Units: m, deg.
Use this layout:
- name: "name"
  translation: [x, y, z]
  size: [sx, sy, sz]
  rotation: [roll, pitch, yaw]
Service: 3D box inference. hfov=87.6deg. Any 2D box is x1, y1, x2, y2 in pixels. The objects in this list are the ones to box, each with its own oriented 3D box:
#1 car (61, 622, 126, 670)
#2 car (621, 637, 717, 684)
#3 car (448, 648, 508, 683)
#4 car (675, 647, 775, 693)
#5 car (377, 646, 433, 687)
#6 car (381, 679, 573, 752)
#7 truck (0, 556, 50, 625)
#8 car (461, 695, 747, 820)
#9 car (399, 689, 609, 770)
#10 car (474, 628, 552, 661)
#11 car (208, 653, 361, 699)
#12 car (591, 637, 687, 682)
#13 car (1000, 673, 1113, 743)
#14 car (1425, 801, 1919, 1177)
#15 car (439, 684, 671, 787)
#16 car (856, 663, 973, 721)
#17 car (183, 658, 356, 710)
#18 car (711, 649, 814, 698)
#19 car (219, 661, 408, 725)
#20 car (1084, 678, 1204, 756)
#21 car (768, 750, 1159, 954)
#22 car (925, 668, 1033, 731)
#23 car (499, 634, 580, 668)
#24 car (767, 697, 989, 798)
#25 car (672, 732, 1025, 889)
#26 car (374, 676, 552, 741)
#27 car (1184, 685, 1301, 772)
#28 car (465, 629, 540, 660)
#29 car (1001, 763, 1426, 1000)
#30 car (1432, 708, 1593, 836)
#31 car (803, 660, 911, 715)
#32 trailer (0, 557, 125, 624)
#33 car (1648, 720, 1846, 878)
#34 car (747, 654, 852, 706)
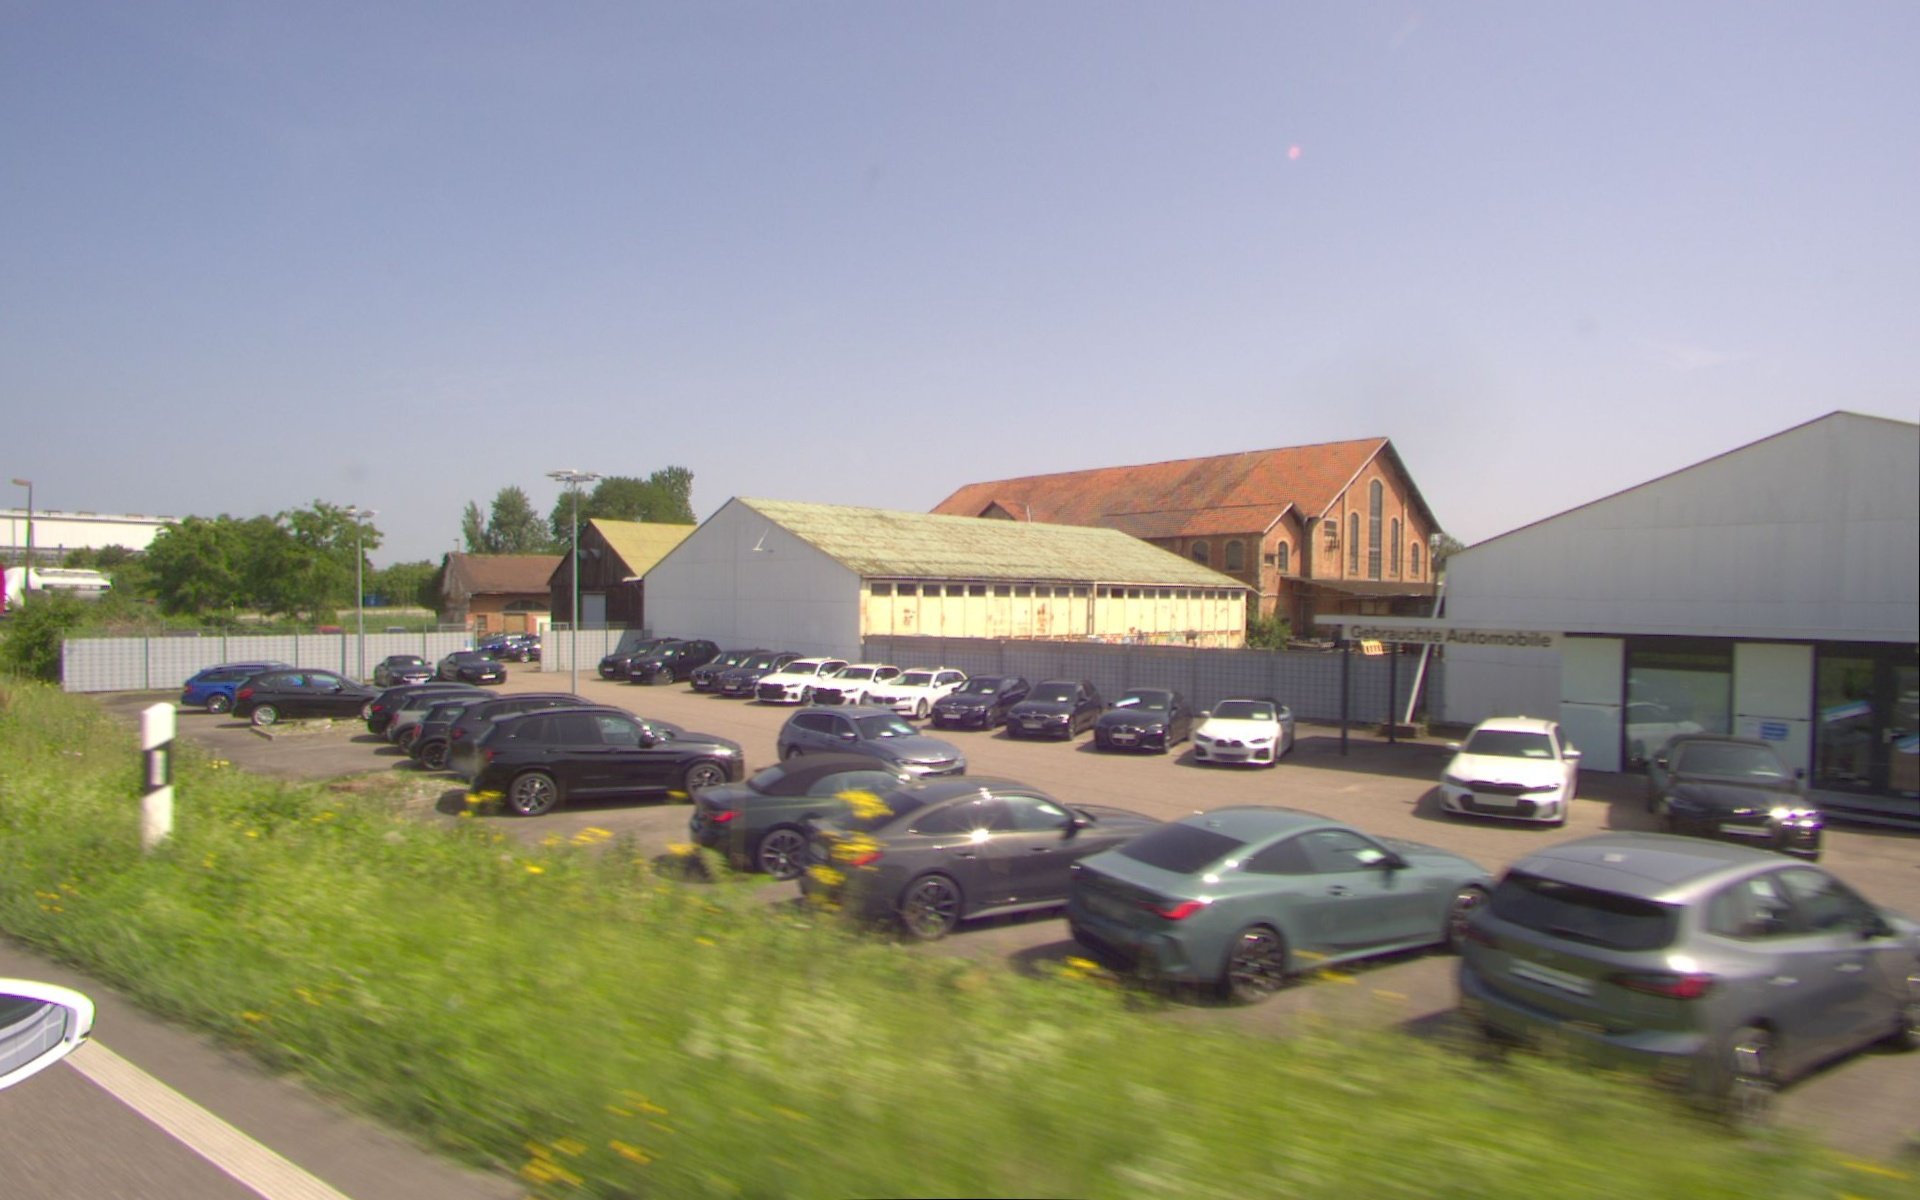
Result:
- name: "car"
  translation: [-38.657, 2.010, 44.664]
  size: [1.981, 2.039, 3.961]
  rotation: [2, -2, -44]
- name: "car"
  translation: [-12.832, 2.623, 44.441]
  size: [1.878, 1.828, 4.329]
  rotation: [1, 0, 21]
- name: "car"
  translation: [-21.477, 2.862, 44.569]
  size: [1.973, 1.416, 3.977]
  rotation: [1, -2, -32]
- name: "car"
  translation: [-9.520, 2.818, 40.890]
  size: [1.878, 1.596, 4.329]
  rotation: [1, 0, 21]
- name: "car"
  translation: [-23.734, 2.792, 42.725]
  size: [1.831, 1.554, 4.617]
  rotation: [1, -2, -32]
- name: "car"
  translation: [-11.690, 2.779, 24.551]
  size: [4.081, 1.512, 1.826]
  rotation: [1, -1, -21]
- name: "truck"
  translation: [-58.954, -0.524, 60.976]
  size: [2.842, 4.082, 6.707]
  rotation: [1, -2, -20]
- name: "car"
  translation: [-6.271, 2.694, 17.821]
  size: [4.570, 1.723, 1.849]
  rotation: [1, 1, -25]
- name: "car"
  translation: [-10.018, 2.828, 22.322]
  size: [4.081, 1.461, 1.770]
  rotation: [1, 1, -21]
- name: "car"
  translation: [-25.117, 2.500, 56.276]
  size: [3.707, 1.772, 1.661]
  rotation: [2, -2, -39]
- name: "car"
  translation: [-24.824, 2.783, 36.945]
  size: [4.294, 1.522, 1.840]
  rotation: [1, 0, -15]
- name: "car"
  translation: [-14.878, 2.706, 46.624]
  size: [1.964, 1.828, 4.329]
  rotation: [1, 0, 21]
- name: "car"
  translation: [2.808, 2.973, 28.287]
  size: [1.768, 1.543, 4.312]
  rotation: [-1, -1, 26]
- name: "car"
  translation: [5.646, 2.604, 7.600]
  size: [4.113, 1.542, 1.847]
  rotation: [1, -2, -30]
- name: "car"
  translation: [-8.146, 2.674, 20.420]
  size: [4.165, 1.723, 1.913]
  rotation: [1, 1, -21]
- name: "car"
  translation: [-1.395, 2.947, 32.874]
  size: [1.881, 1.543, 4.645]
  rotation: [-1, -1, 26]
- name: "car"
  translation: [-23.192, 2.794, 33.862]
  size: [4.573, 1.518, 1.848]
  rotation: [1, 1, -27]
- name: "car"
  translation: [-7.554, 2.777, 38.682]
  size: [1.878, 1.596, 4.329]
  rotation: [1, 0, 21]
- name: "car"
  translation: [-19.004, 2.695, 29.713]
  size: [4.577, 1.625, 1.847]
  rotation: [1, -1, -30]
- name: "car"
  translation: [4.892, 2.958, 26.108]
  size: [1.901, 1.543, 4.603]
  rotation: [-1, -1, 26]
- name: "car"
  translation: [0.079, 2.701, 11.456]
  size: [4.112, 1.542, 1.848]
  rotation: [1, -2, -29]
- name: "car"
  translation: [0.648, 2.921, 30.099]
  size: [1.730, 1.543, 3.996]
  rotation: [-1, -1, 26]
- name: "car"
  translation: [-22.621, 2.732, 53.900]
  size: [3.710, 1.772, 1.659]
  rotation: [2, -2, -41]
- name: "car"
  translation: [-1.749, 2.862, 20.242]
  size: [2.122, 1.476, 4.487]
  rotation: [2, -2, -44]
- name: "car"
  translation: [-1.522, 2.799, 13.997]
  size: [4.573, 1.542, 1.849]
  rotation: [1, -2, -27]
- name: "car"
  translation: [-12.997, 2.820, 26.444]
  size: [3.965, 1.461, 1.770]
  rotation: [1, 1, -17]
- name: "car"
  translation: [6.861, 2.962, 23.978]
  size: [1.901, 1.543, 4.603]
  rotation: [-1, -1, 26]
- name: "car"
  translation: [-26.861, 2.583, 58.848]
  size: [3.707, 1.772, 1.661]
  rotation: [2, -2, -39]
- name: "car"
  translation: [2.649, 2.676, 10.291]
  size: [4.112, 1.542, 1.848]
  rotation: [1, -2, -29]
- name: "car"
  translation: [9.839, 2.885, 17.657]
  size: [1.908, 1.543, 4.410]
  rotation: [-1, -1, 37]
- name: "car"
  translation: [-3.507, 2.986, 34.988]
  size: [1.878, 1.543, 4.603]
  rotation: [1, 0, 21]
- name: "trailer"
  translation: [-59.993, -0.468, 66.585]
  size: [2.834, 4.081, 8.693]
  rotation: [0, -2, -10]
- name: "car"
  translation: [11.853, 2.865, 15.385]
  size: [1.904, 1.543, 4.417]
  rotation: [0, -1, 32]
- name: "car"
  translation: [-5.801, 2.867, 36.692]
  size: [1.878, 1.543, 4.329]
  rotation: [1, 0, 21]
